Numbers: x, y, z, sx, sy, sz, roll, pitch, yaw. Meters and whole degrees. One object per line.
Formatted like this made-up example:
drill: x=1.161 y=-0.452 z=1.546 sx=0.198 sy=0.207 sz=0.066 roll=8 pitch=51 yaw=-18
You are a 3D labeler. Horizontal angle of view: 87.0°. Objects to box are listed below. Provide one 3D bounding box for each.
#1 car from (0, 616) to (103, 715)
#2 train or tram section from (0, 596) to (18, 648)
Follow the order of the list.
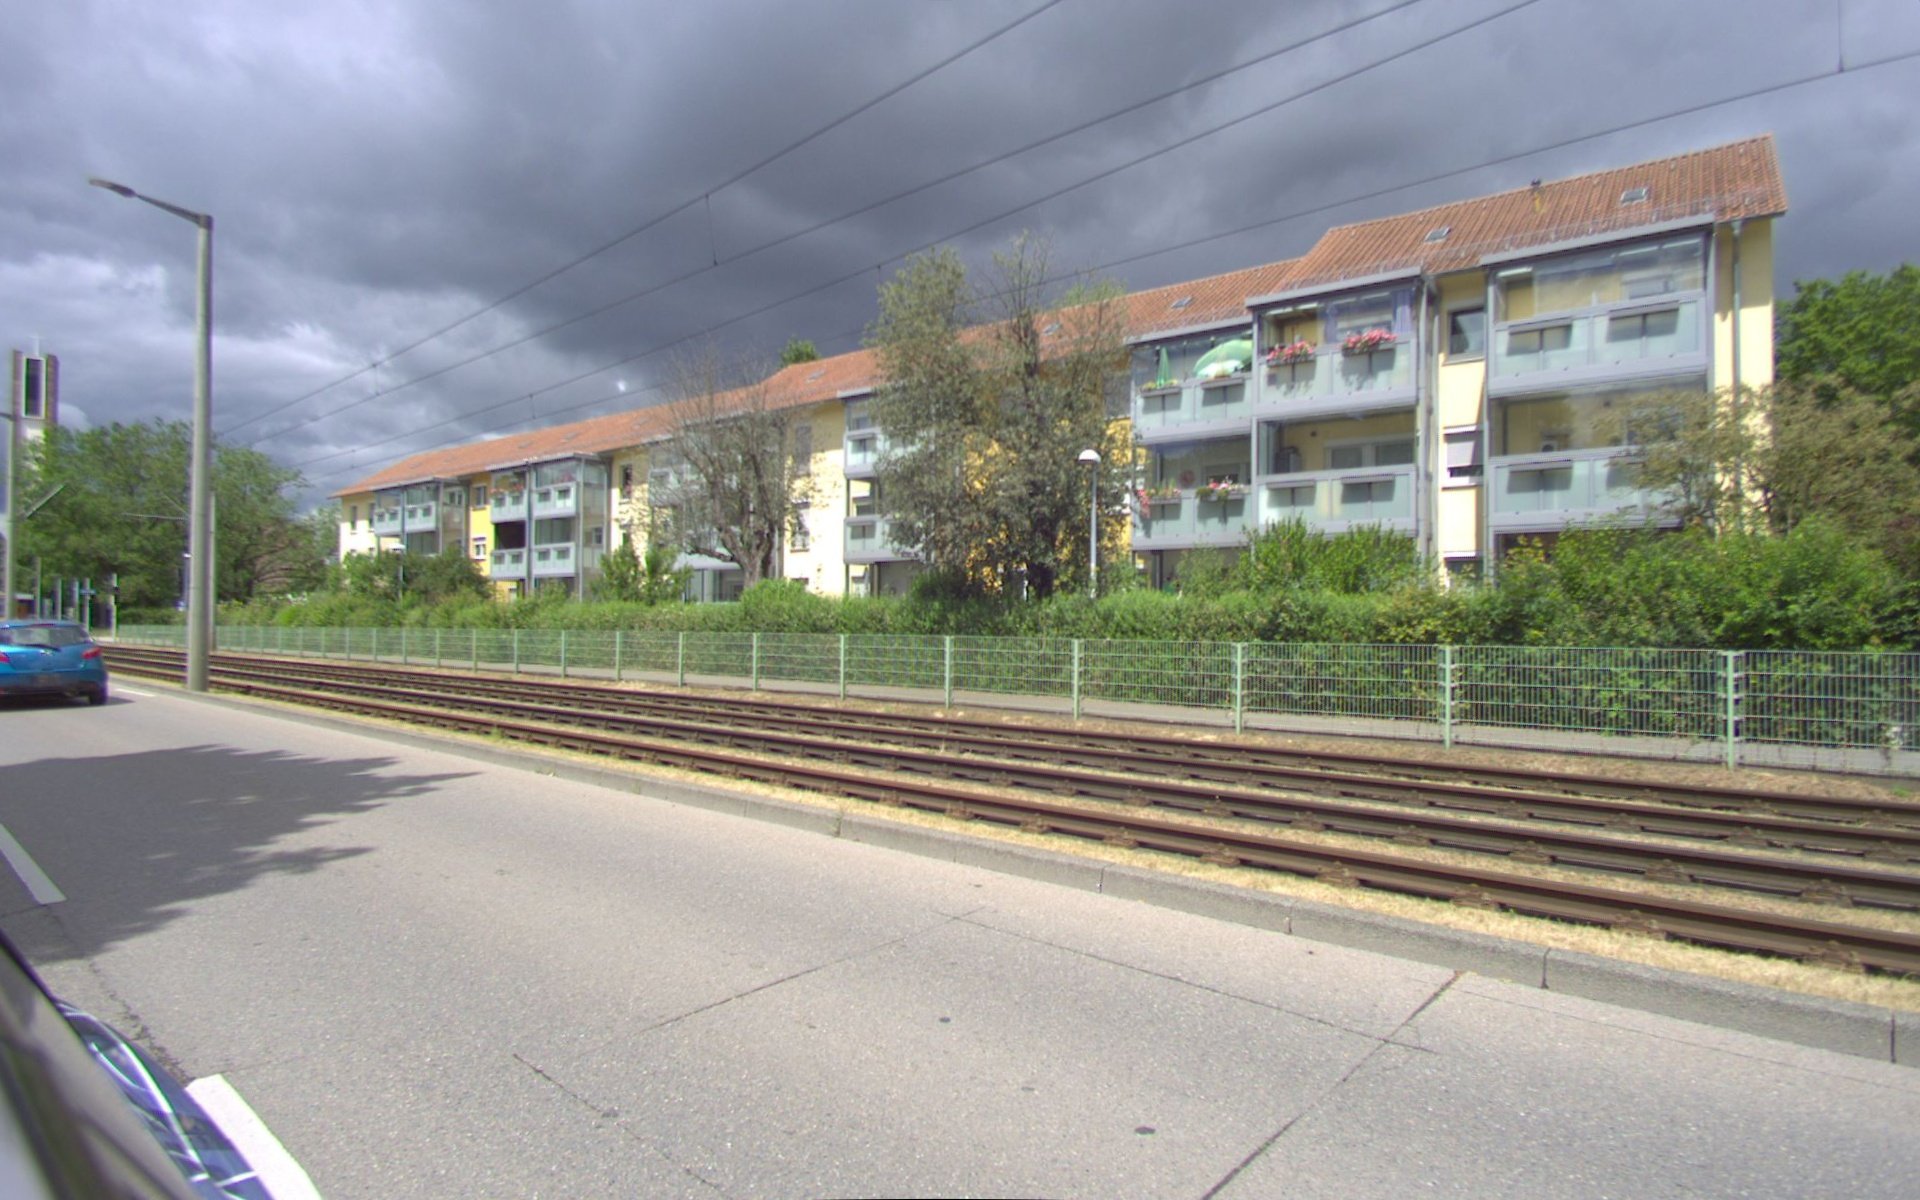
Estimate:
car: x=-16.021 y=1.057 z=17.268 sx=3.579 sy=1.537 sz=1.607 roll=-1 pitch=-1 yaw=41
train or tram section: x=-78.986 y=1.822 z=80.989 sx=18.521 sy=3.892 sz=2.950 roll=-1 pitch=0 yaw=40
